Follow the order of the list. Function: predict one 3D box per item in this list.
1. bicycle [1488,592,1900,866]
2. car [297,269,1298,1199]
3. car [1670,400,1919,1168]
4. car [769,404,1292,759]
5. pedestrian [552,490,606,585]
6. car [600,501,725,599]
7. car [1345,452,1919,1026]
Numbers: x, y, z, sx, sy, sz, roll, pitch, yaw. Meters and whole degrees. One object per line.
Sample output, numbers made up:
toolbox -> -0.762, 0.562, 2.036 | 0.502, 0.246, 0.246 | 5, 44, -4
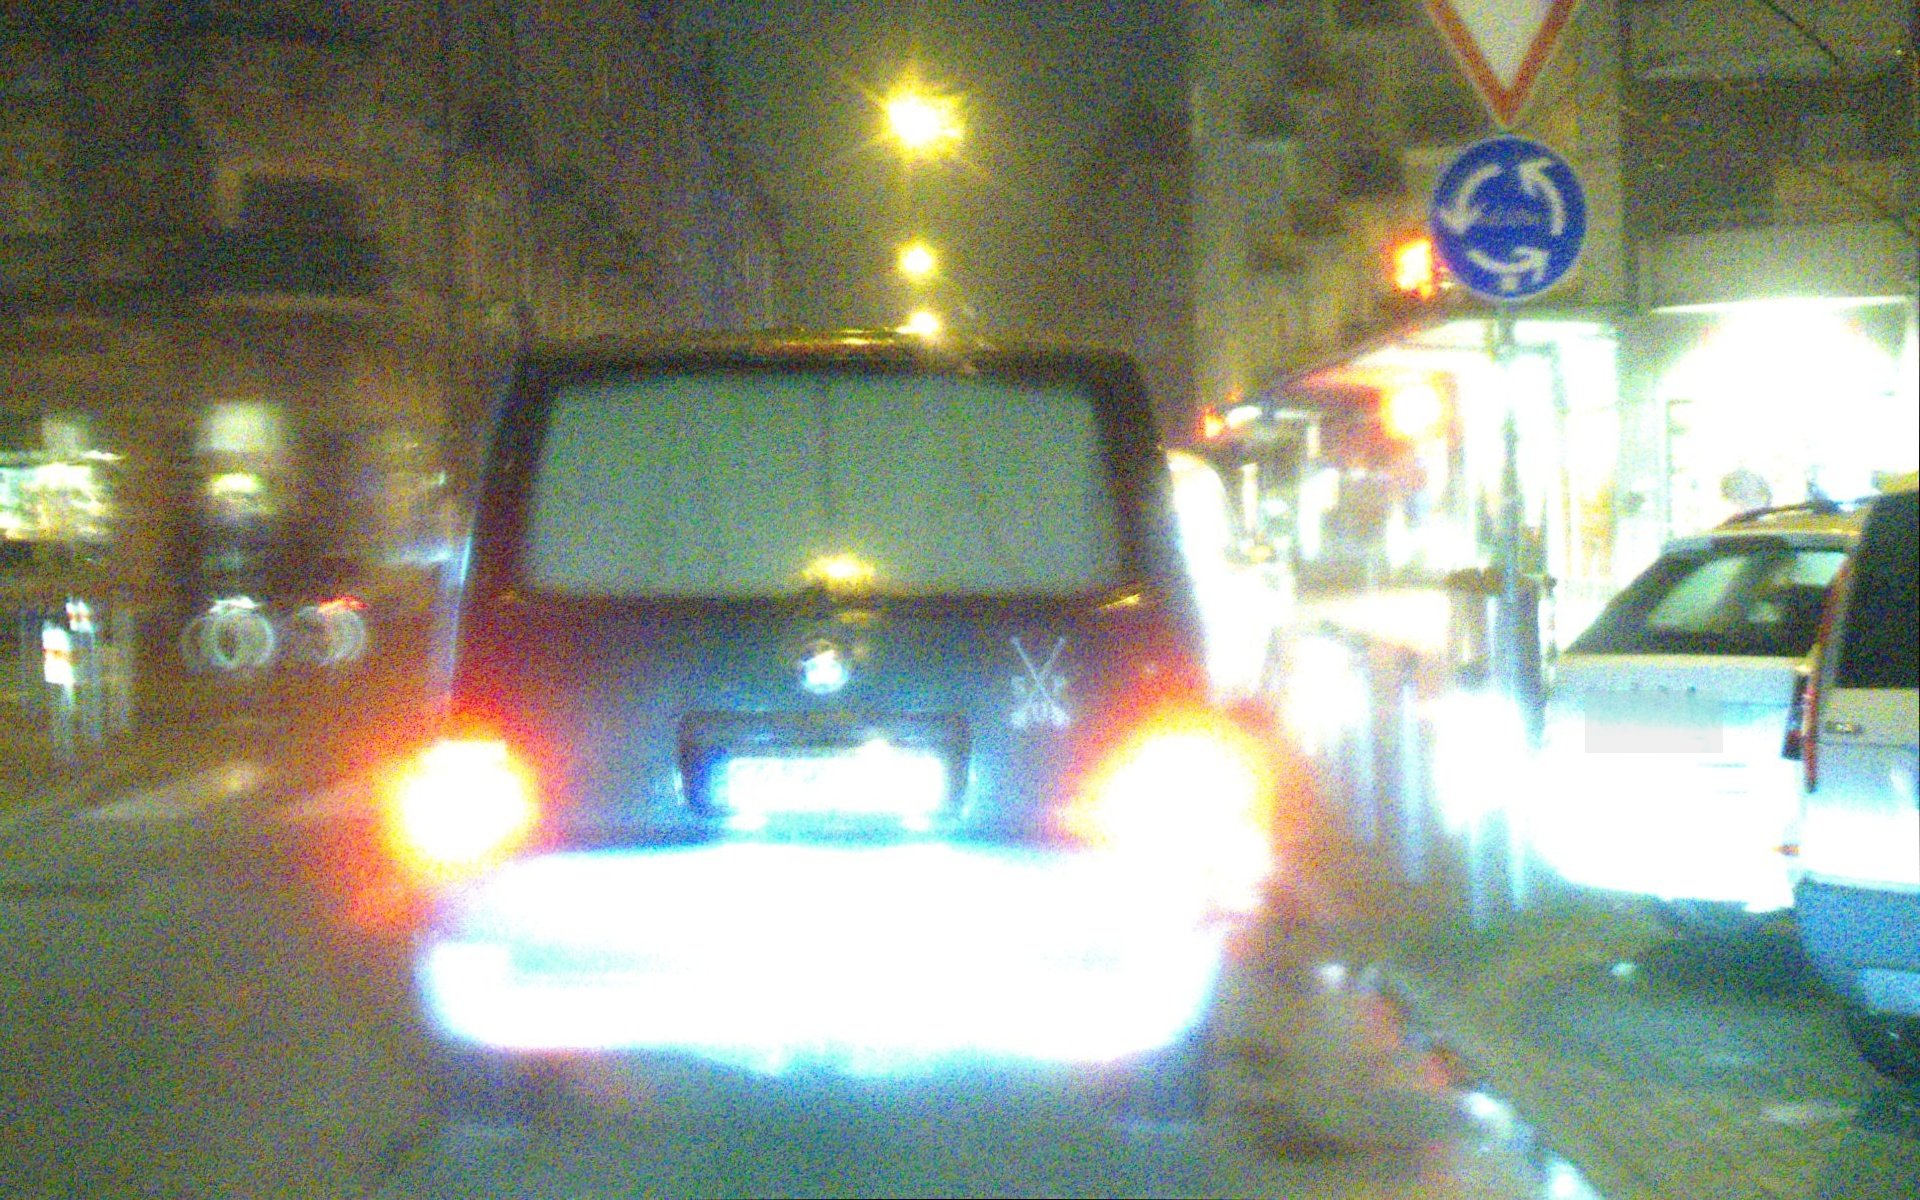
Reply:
bicycle -> 2.902, 0.489, 13.716 | 1.645, 1.023, 0.335 | 0, 3, 43
car -> -0.353, 0.242, 9.667 | 2.122, 1.984, 4.601 | -1, 1, 0
car -> 3.756, 0.303, 8.500 | 3.729, 1.706, 1.771 | -4, 2, -35
car -> 0.591, -0.170, 21.131 | 2.124, 1.915, 4.823 | 0, 2, 15
pedestrian -> -7.155, -1.180, 64.631 | 0.804, 1.760, 1.015 | 1, 1, 6
car -> -4.693, -0.819, 54.640 | 1.586, 1.458, 4.024 | 2, 2, 0
car -> 3.565, 0.277, 11.328 | 4.249, 1.568, 1.772 | -4, 2, -29
